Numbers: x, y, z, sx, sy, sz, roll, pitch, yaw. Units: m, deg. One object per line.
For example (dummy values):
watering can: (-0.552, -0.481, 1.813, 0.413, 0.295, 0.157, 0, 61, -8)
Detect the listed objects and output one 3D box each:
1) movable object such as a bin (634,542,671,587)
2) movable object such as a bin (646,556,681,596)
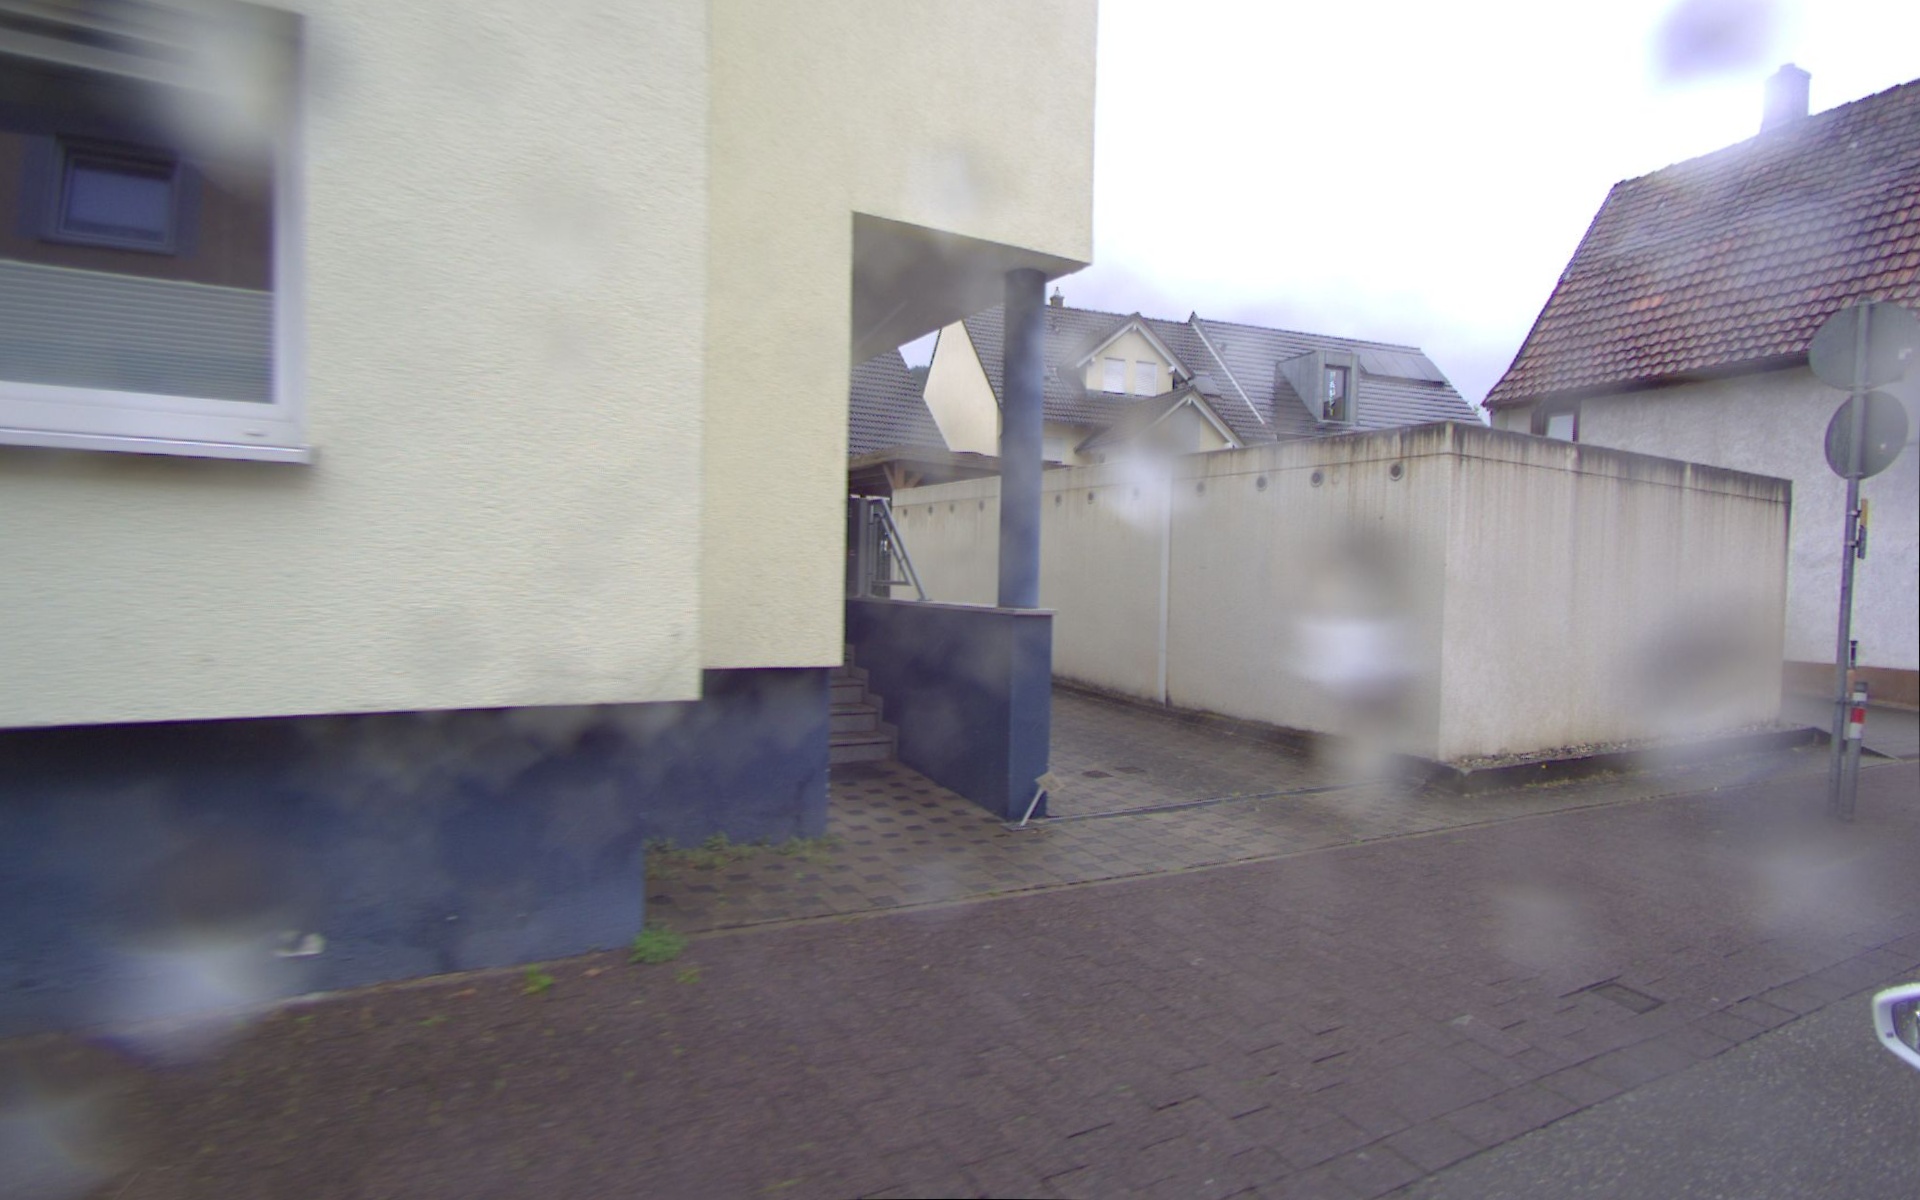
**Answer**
movable object such as a bin: (-7.628, -0.880, 24.929, 0.748, 1.087, 0.607, 1, 1, -30)
movable object such as a bin: (-7.186, -0.581, 24.302, 0.681, 0.944, 0.608, 1, 1, -30)
